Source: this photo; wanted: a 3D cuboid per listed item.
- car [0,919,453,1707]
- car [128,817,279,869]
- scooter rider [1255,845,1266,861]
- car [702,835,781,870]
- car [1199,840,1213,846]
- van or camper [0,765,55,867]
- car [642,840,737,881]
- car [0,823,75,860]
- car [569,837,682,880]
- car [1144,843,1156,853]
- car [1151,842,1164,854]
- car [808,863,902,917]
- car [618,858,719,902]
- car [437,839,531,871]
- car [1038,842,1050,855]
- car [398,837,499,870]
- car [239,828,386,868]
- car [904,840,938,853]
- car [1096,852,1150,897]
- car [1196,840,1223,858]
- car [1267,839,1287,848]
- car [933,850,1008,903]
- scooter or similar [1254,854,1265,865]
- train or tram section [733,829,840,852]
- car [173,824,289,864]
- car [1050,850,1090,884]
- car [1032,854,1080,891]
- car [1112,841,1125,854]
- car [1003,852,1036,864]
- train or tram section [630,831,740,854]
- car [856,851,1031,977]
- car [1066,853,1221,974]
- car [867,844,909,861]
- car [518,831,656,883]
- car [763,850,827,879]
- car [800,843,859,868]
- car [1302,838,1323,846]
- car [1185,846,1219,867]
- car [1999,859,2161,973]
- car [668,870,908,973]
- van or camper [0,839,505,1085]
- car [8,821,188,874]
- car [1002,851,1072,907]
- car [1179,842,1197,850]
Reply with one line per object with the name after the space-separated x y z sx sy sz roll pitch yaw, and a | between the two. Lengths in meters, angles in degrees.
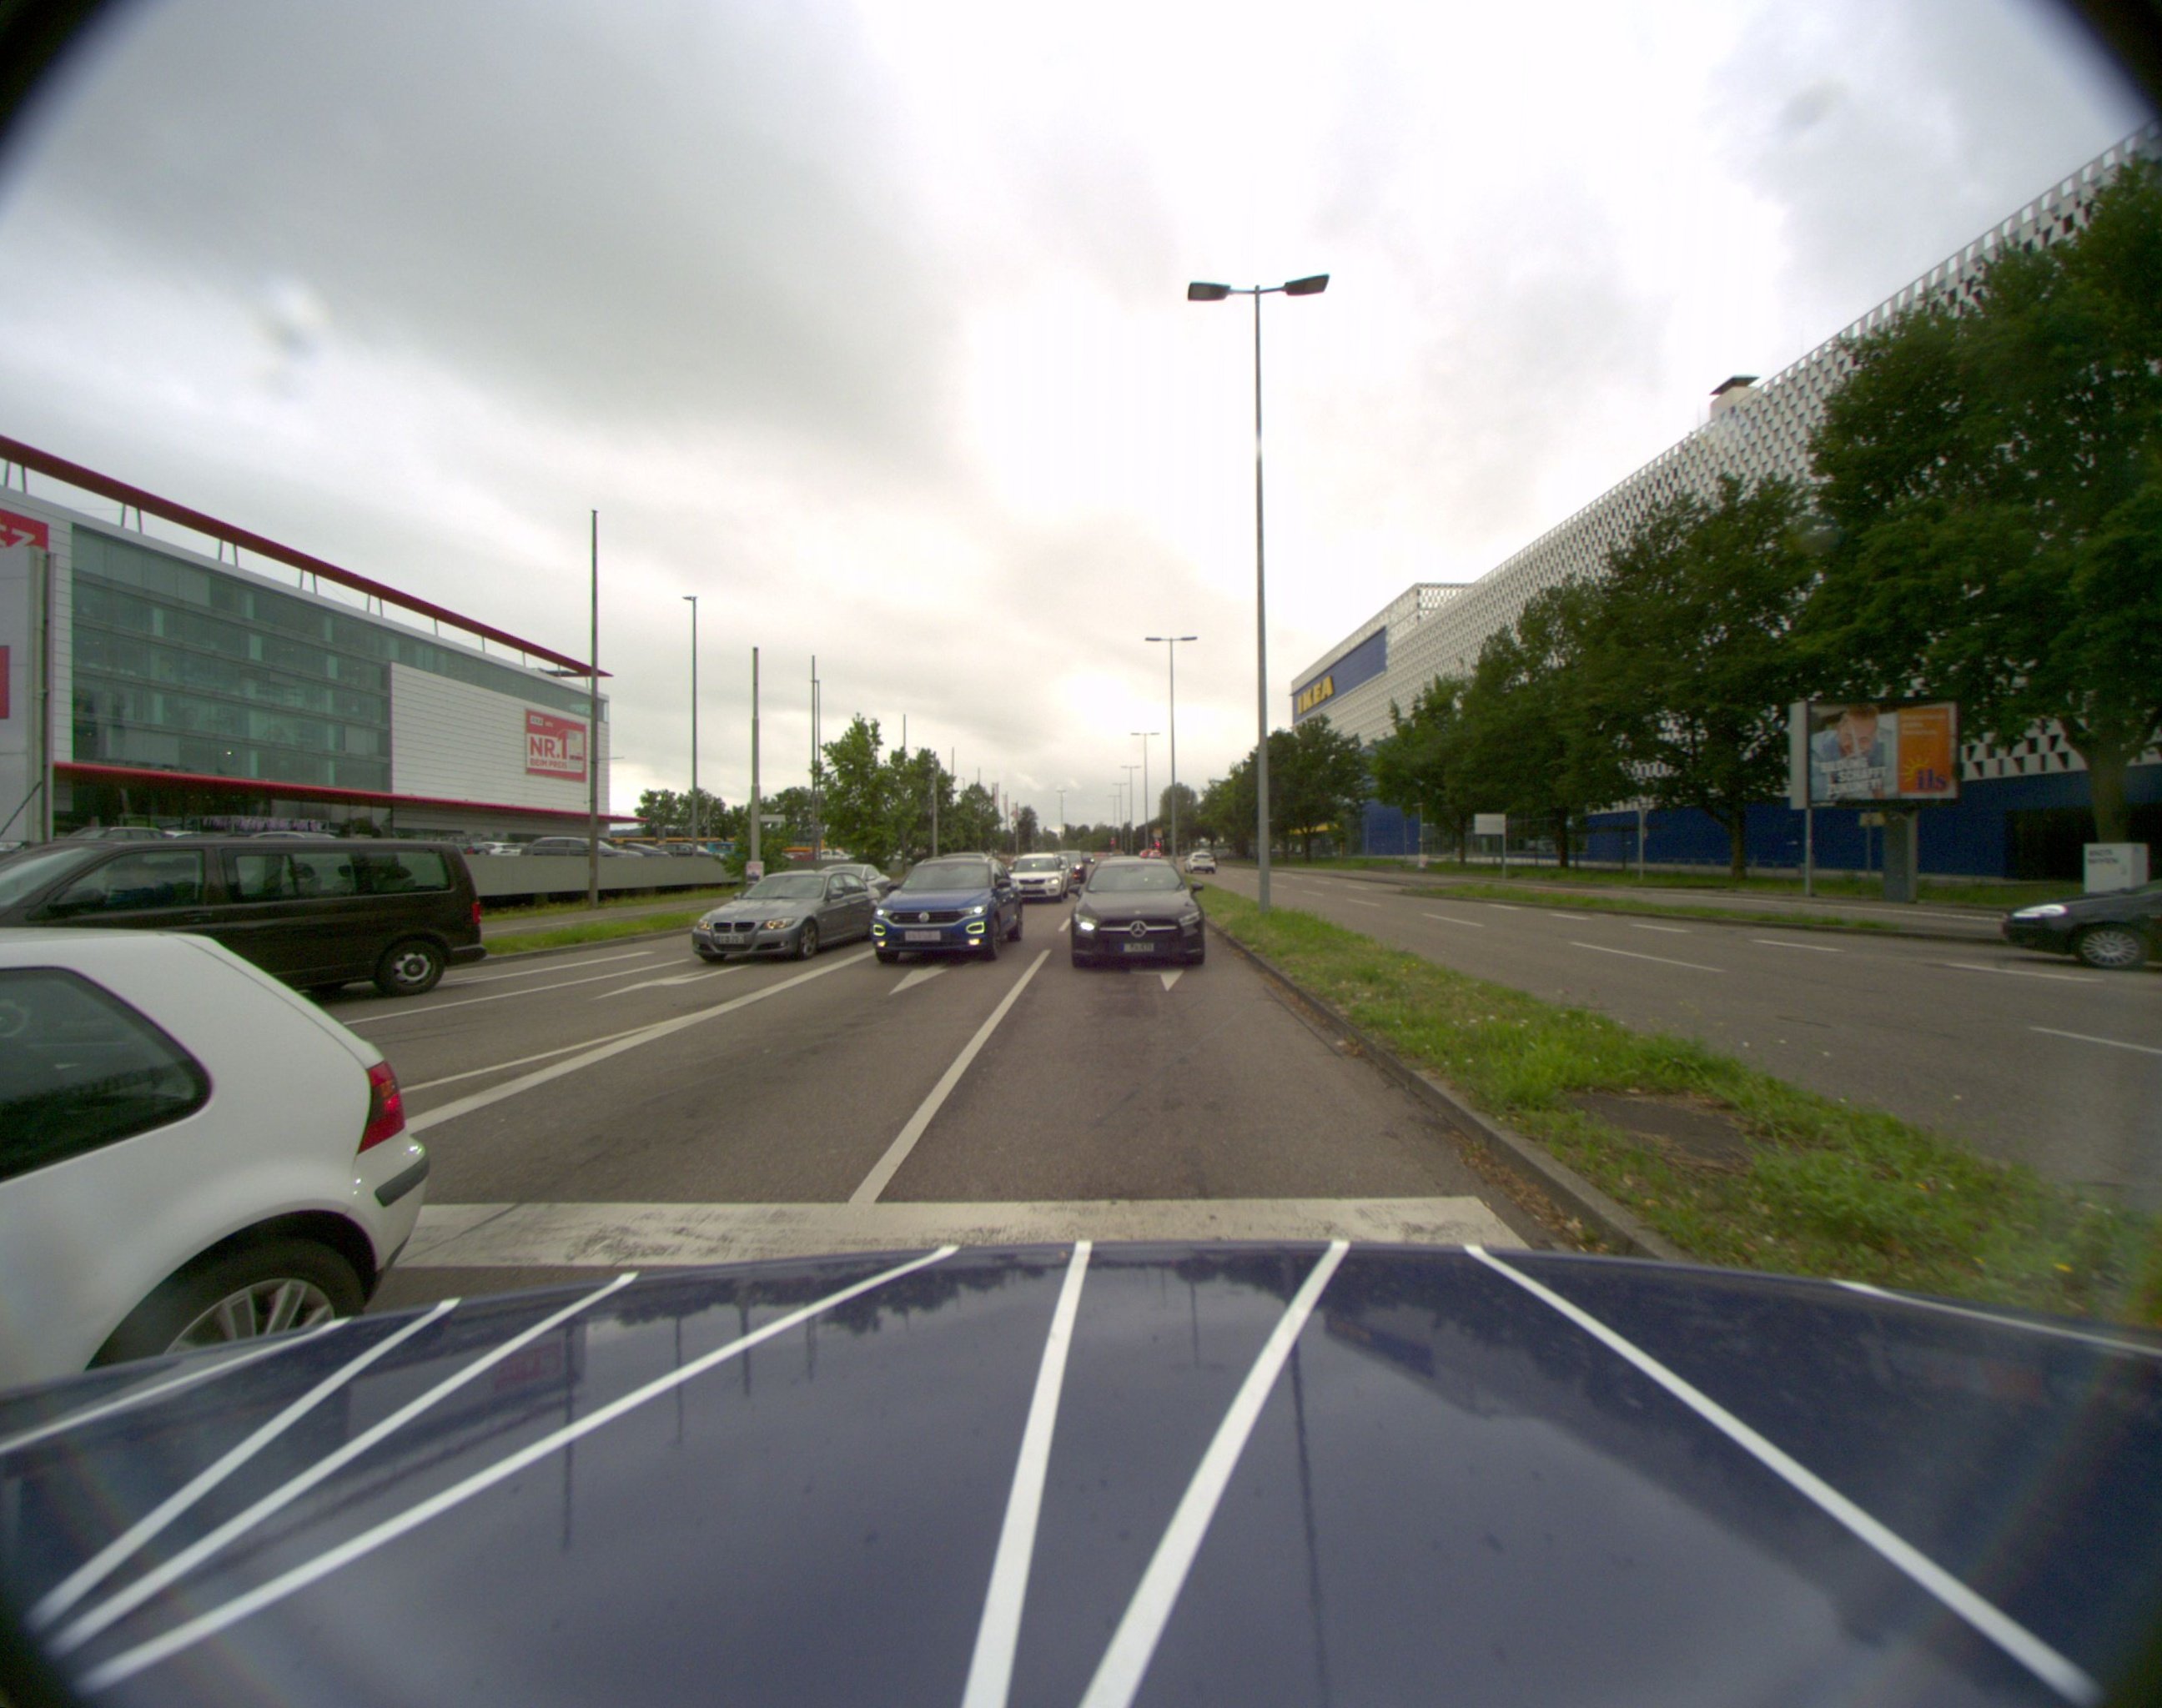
-2.976 1.011 0.367 1.837 1.469 4.004 -2 1 2 | car
-36.010 -0.458 31.273 3.866 1.937 1.869 -2 1 -1 | car
19.893 -0.132 84.320 0.797 1.710 1.038 -2 2 -15 | scooter rider
-21.443 -0.095 48.093 3.997 2.002 1.999 -2 1 0 | car
41.637 -3.787 253.409 4.290 1.813 1.743 -2 1 -1 | car
-37.084 -1.047 23.447 7.229 3.118 2.714 -2 2 2 | van or camper
-21.176 0.305 41.180 3.997 2.002 1.999 -2 1 0 | car
-51.392 -0.581 35.922 1.775 1.666 4.259 -2 1 2 | car
-21.339 0.185 35.746 3.997 1.838 1.999 -2 1 -1 | car
13.205 -1.122 144.788 1.847 1.709 3.924 -2 1 0 | car
13.056 -1.068 129.558 1.847 1.876 3.924 -2 1 0 | car
-6.981 1.057 23.876 1.694 1.364 3.926 -2 1 0 | car
-21.111 1.291 39.027 3.997 2.002 1.999 -2 1 0 | car
-36.279 0.034 46.264 3.997 1.729 1.999 -2 1 -1 | car
-6.676 -0.976 136.738 1.999 2.229 3.999 -1 0 -1 | car
-36.320 -0.044 43.698 3.997 1.729 1.999 -2 1 -1 | car
-31.473 -0.248 31.224 3.991 1.429 1.869 -2 1 -1 | car
-21.031 -1.015 100.207 3.996 1.556 1.796 -2 1 2 | car
1.521 0.691 27.898 1.767 1.370 4.258 -2 1 2 | car
12.429 -0.524 73.867 1.847 1.646 4.360 1 1 0 | car
44.934 -2.380 174.098 3.999 1.805 1.998 -2 1 -6 | car
-3.934 0.747 27.762 1.798 1.616 4.374 -2 1 3 | car
19.788 0.570 84.318 0.590 1.119 1.423 -5 2 -14 | scooter or similar
-68.747 -3.244 177.516 23.271 4.811 3.631 -1 2 -1 | train or tram section
-46.623 -0.541 41.731 3.997 2.002 1.999 -2 1 0 | car
-0.513 0.635 40.096 1.801 1.565 4.219 -2 1 2 | car
-1.053 0.776 33.962 1.801 1.408 4.219 -2 1 2 | car
6.574 -1.126 133.903 1.999 2.207 3.999 -1 0 -1 | car
-8.478 0.511 104.676 4.215 1.408 1.802 -2 1 1 | car
-92.012 -2.716 176.974 23.271 4.811 3.631 -1 2 -1 | train or tram section
-2.047 0.826 12.658 1.846 1.613 4.332 -2 1 3 | car
0.856 0.739 11.462 1.858 1.426 4.197 -2 0 2 | car
-20.986 -0.173 82.739 3.996 1.556 1.796 -2 1 2 | car
-21.189 0.106 32.756 4.529 2.002 1.999 -2 1 -1 | car
-21.458 0.758 57.130 3.997 2.002 1.999 -2 1 0 | car
-21.872 0.133 66.224 4.323 2.002 1.999 -2 1 0 | car
53.307 -2.807 174.830 3.999 1.805 1.998 -2 1 -6 | car
8.455 0.148 53.435 1.786 1.444 3.933 0 1 1 | car
14.135 0.744 9.070 1.731 1.363 3.988 0 0 -42 | car
-4.879 1.051 13.599 1.815 1.402 4.881 -2 -1 8 | car
-9.607 0.917 8.199 2.160 2.002 4.948 -2 1 18 | van or camper
-41.487 -0.300 32.256 1.998 2.002 4.180 -2 1 2 | car
-1.395 0.764 25.652 1.798 1.616 4.374 -2 1 3 | car
26.428 -1.973 187.565 3.997 2.002 1.999 -2 1 0 | car
